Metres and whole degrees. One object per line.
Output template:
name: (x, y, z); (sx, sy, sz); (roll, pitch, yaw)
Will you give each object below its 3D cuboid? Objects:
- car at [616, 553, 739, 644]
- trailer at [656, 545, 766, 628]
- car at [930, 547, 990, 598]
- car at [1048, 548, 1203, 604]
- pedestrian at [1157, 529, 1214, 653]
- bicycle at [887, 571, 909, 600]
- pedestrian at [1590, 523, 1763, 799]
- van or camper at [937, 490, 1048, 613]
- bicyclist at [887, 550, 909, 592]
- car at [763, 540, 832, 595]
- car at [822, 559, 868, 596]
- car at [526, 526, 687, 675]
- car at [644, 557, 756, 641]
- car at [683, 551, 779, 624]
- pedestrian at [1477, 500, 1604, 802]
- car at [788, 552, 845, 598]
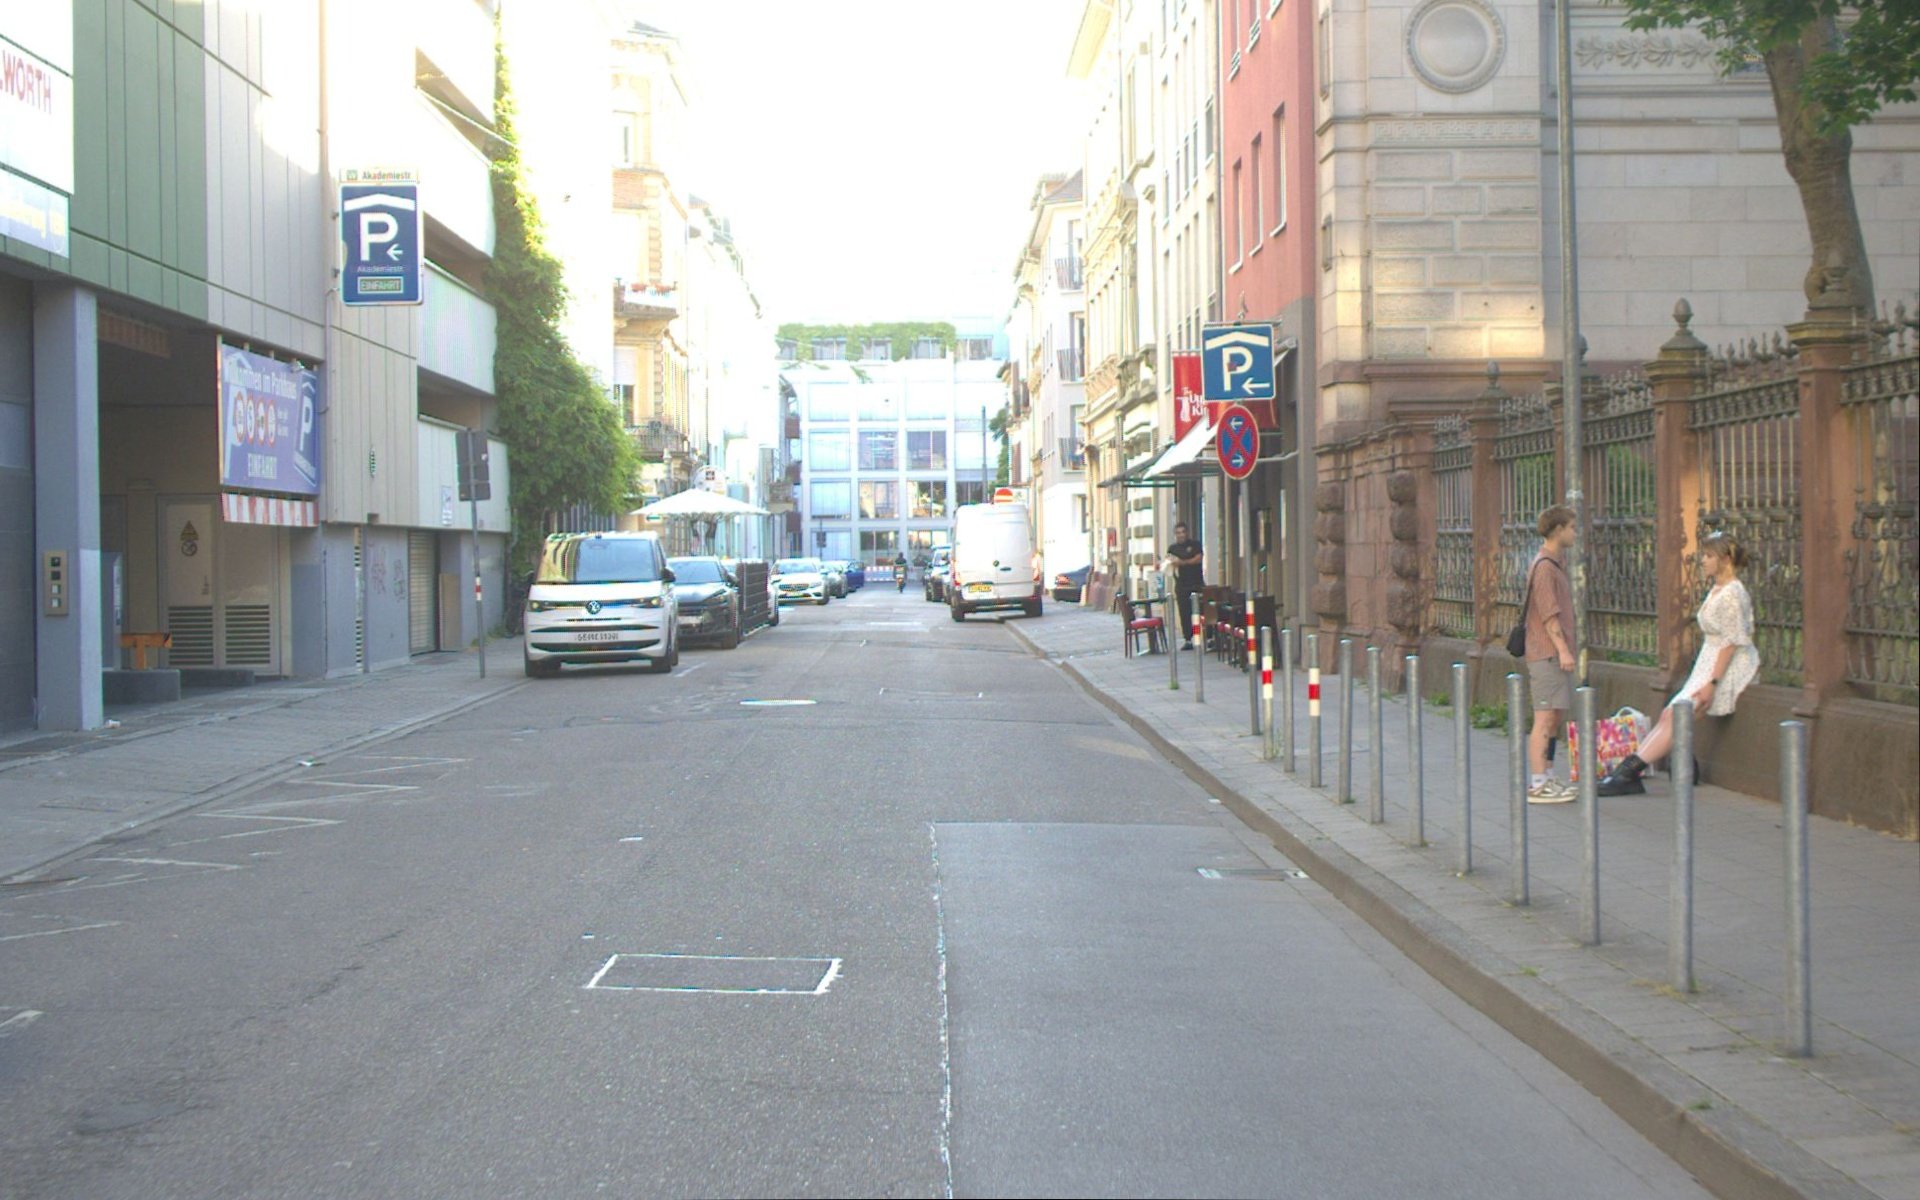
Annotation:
car: (-4.719, -0.057, 57.899); (1.883, 1.448, 4.000); (-1, 1, -2)
trailer: (-4.828, -0.262, 67.115); (1.993, 1.552, 4.000); (0, 0, -2)
car: (-0.018, -0.925, 116.507); (1.993, 1.678, 4.000); (0, 0, -1)
car: (4.354, -0.629, 90.567); (3.987, 1.415, 1.656); (0, 0, 0)
pedestrian: (3.068, -0.127, 46.893); (0.662, 1.660, 0.624); (-2, 1, -1)
bicycle: (-2.778, -0.661, 154.833); (0.975, 1.276, 2.754); (0, 0, -1)
pedestrian: (4.025, 0.333, 19.343); (0.749, 1.494, 0.619); (-2, 1, -6)
van or camper: (0.716, -1.097, 79.944); (2.258, 2.598, 5.112); (-5, 0, -1)
bicyclist: (-2.801, -1.294, 154.734); (0.990, 1.862, 0.708); (0, 0, -1)
car: (-5.000, -0.992, 106.141); (1.993, 1.678, 4.000); (0, 0, -1)
car: (-5.304, -1.047, 158.809); (1.993, 1.678, 4.000); (0, 0, -1)
car: (-4.741, -0.032, 46.656); (1.883, 1.905, 4.749); (-1, 1, -3)
car: (-4.721, -0.042, 62.767); (1.883, 1.448, 4.000); (-1, 1, -2)
car: (-4.737, -0.286, 71.596); (1.883, 1.448, 4.000); (-1, 1, -2)
pedestrian: (3.268, 0.278, 19.369); (0.484, 1.652, 0.619); (-2, 1, -8)
car: (-5.354, -0.939, 128.662); (1.993, 1.678, 4.000); (0, 0, -1)
